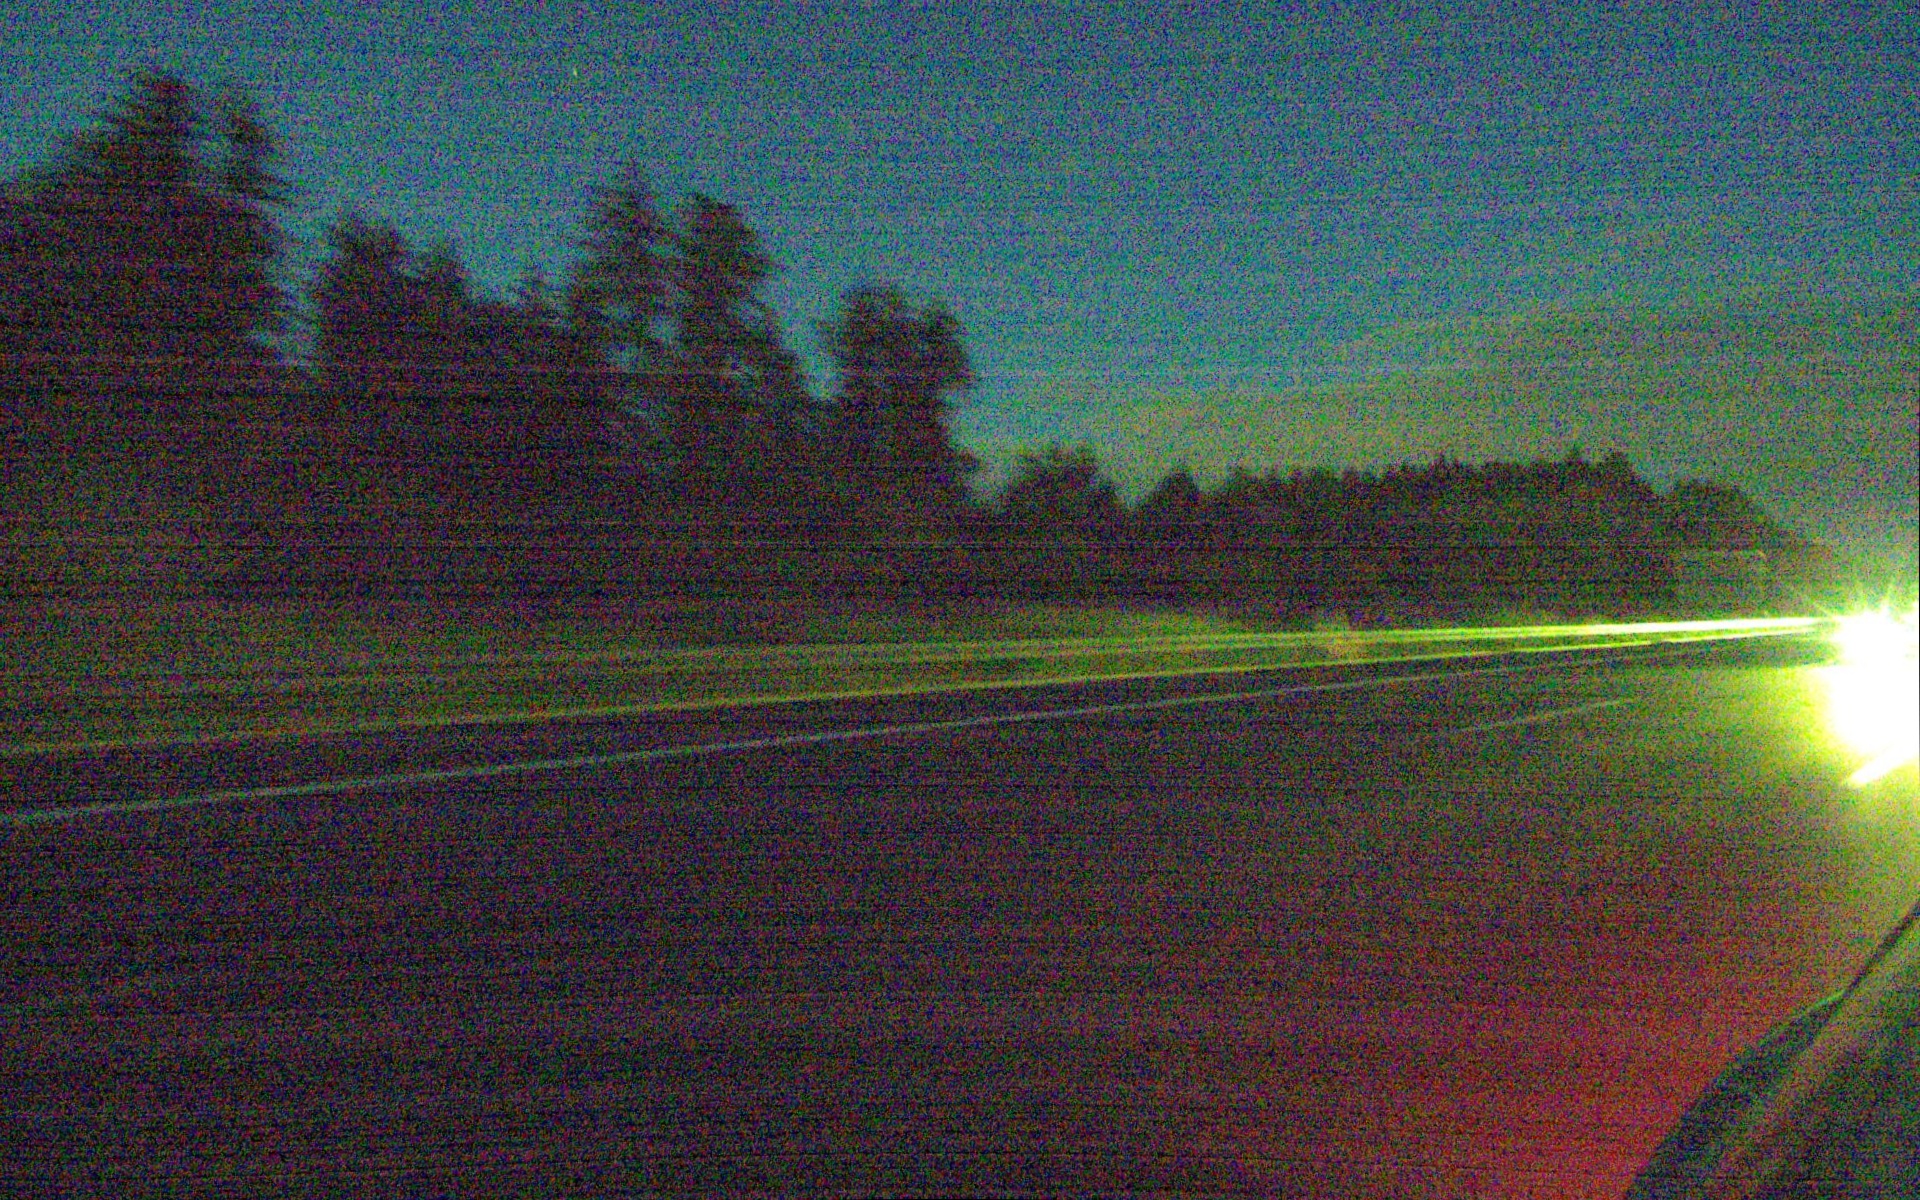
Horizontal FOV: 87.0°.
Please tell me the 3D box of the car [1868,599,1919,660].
[{"bbox_3d":[24.145,0.710,25.156,4.982,1.419,1.837,1,-2,-43],"label":"car"}]
